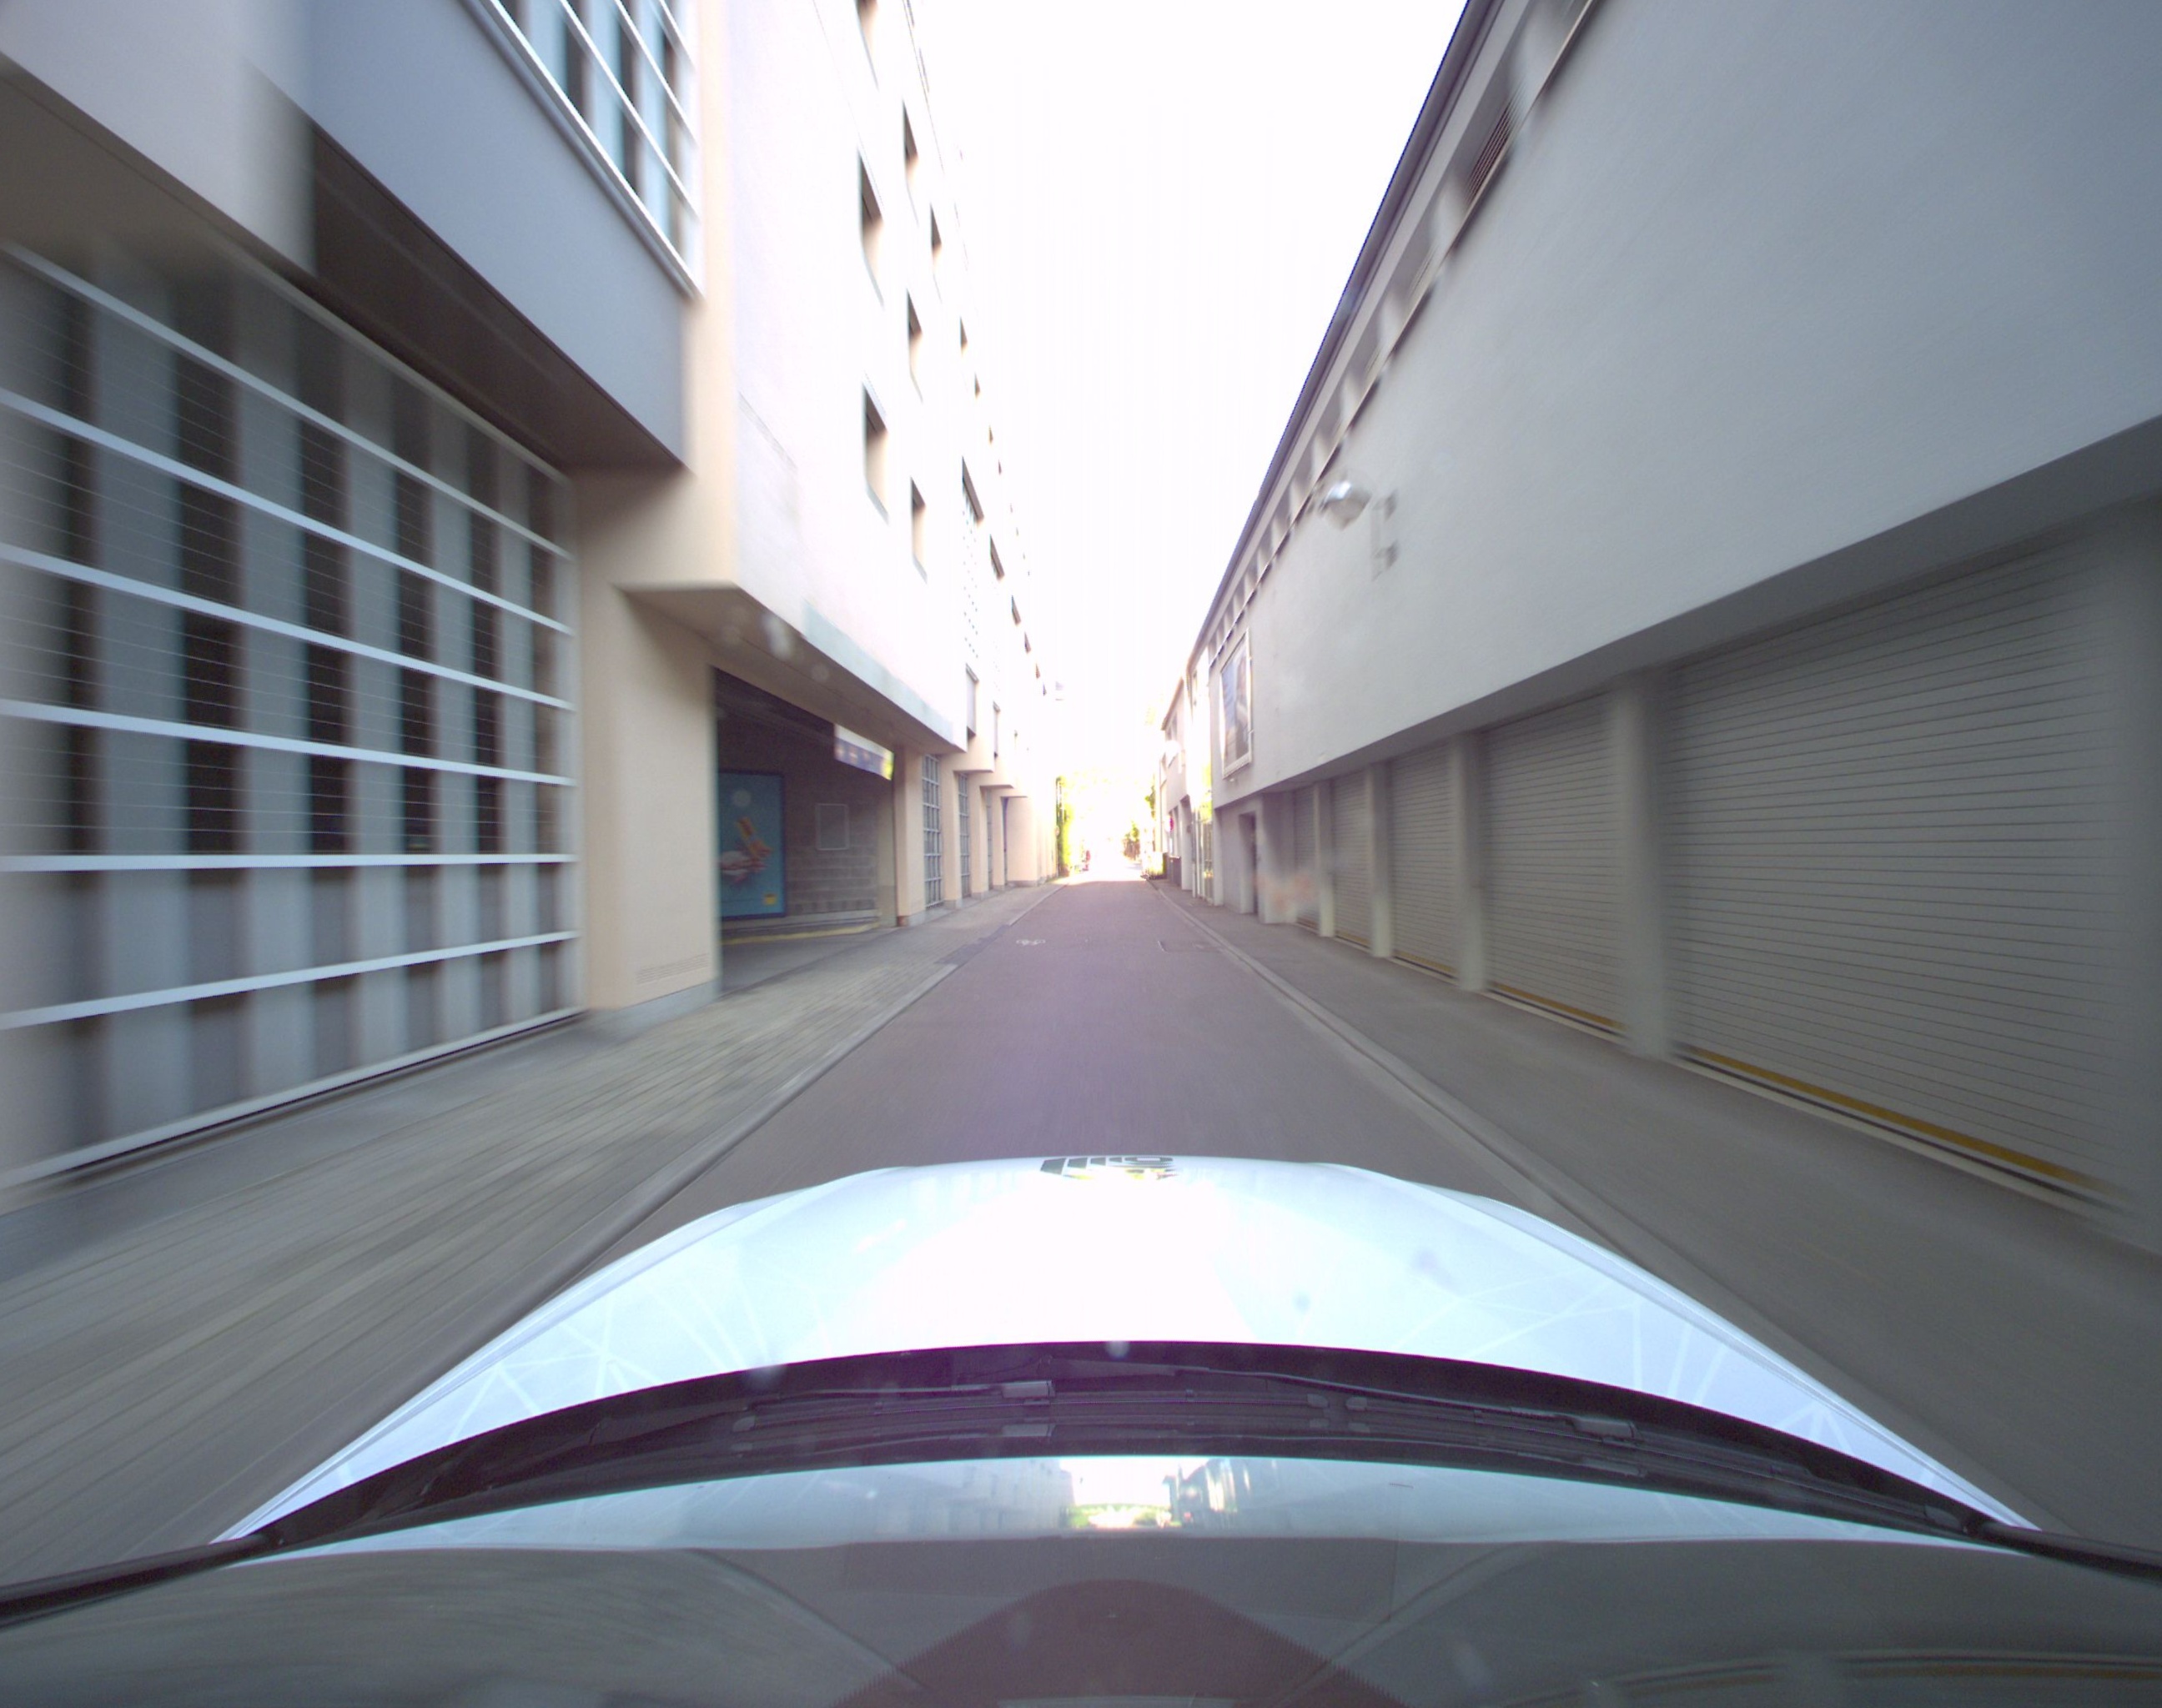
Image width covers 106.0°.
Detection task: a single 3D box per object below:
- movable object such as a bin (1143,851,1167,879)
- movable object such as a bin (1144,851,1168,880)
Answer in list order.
[{"bbox_3d":[3.847,0.568,42.315,1.061,1.366,1.342,-4,0,0],"label":"movable object such as a bin"},{"bbox_3d":[3.765,0.561,40.911,0.935,1.366,1.340,-4,0,-4],"label":"movable object such as a bin"}]
